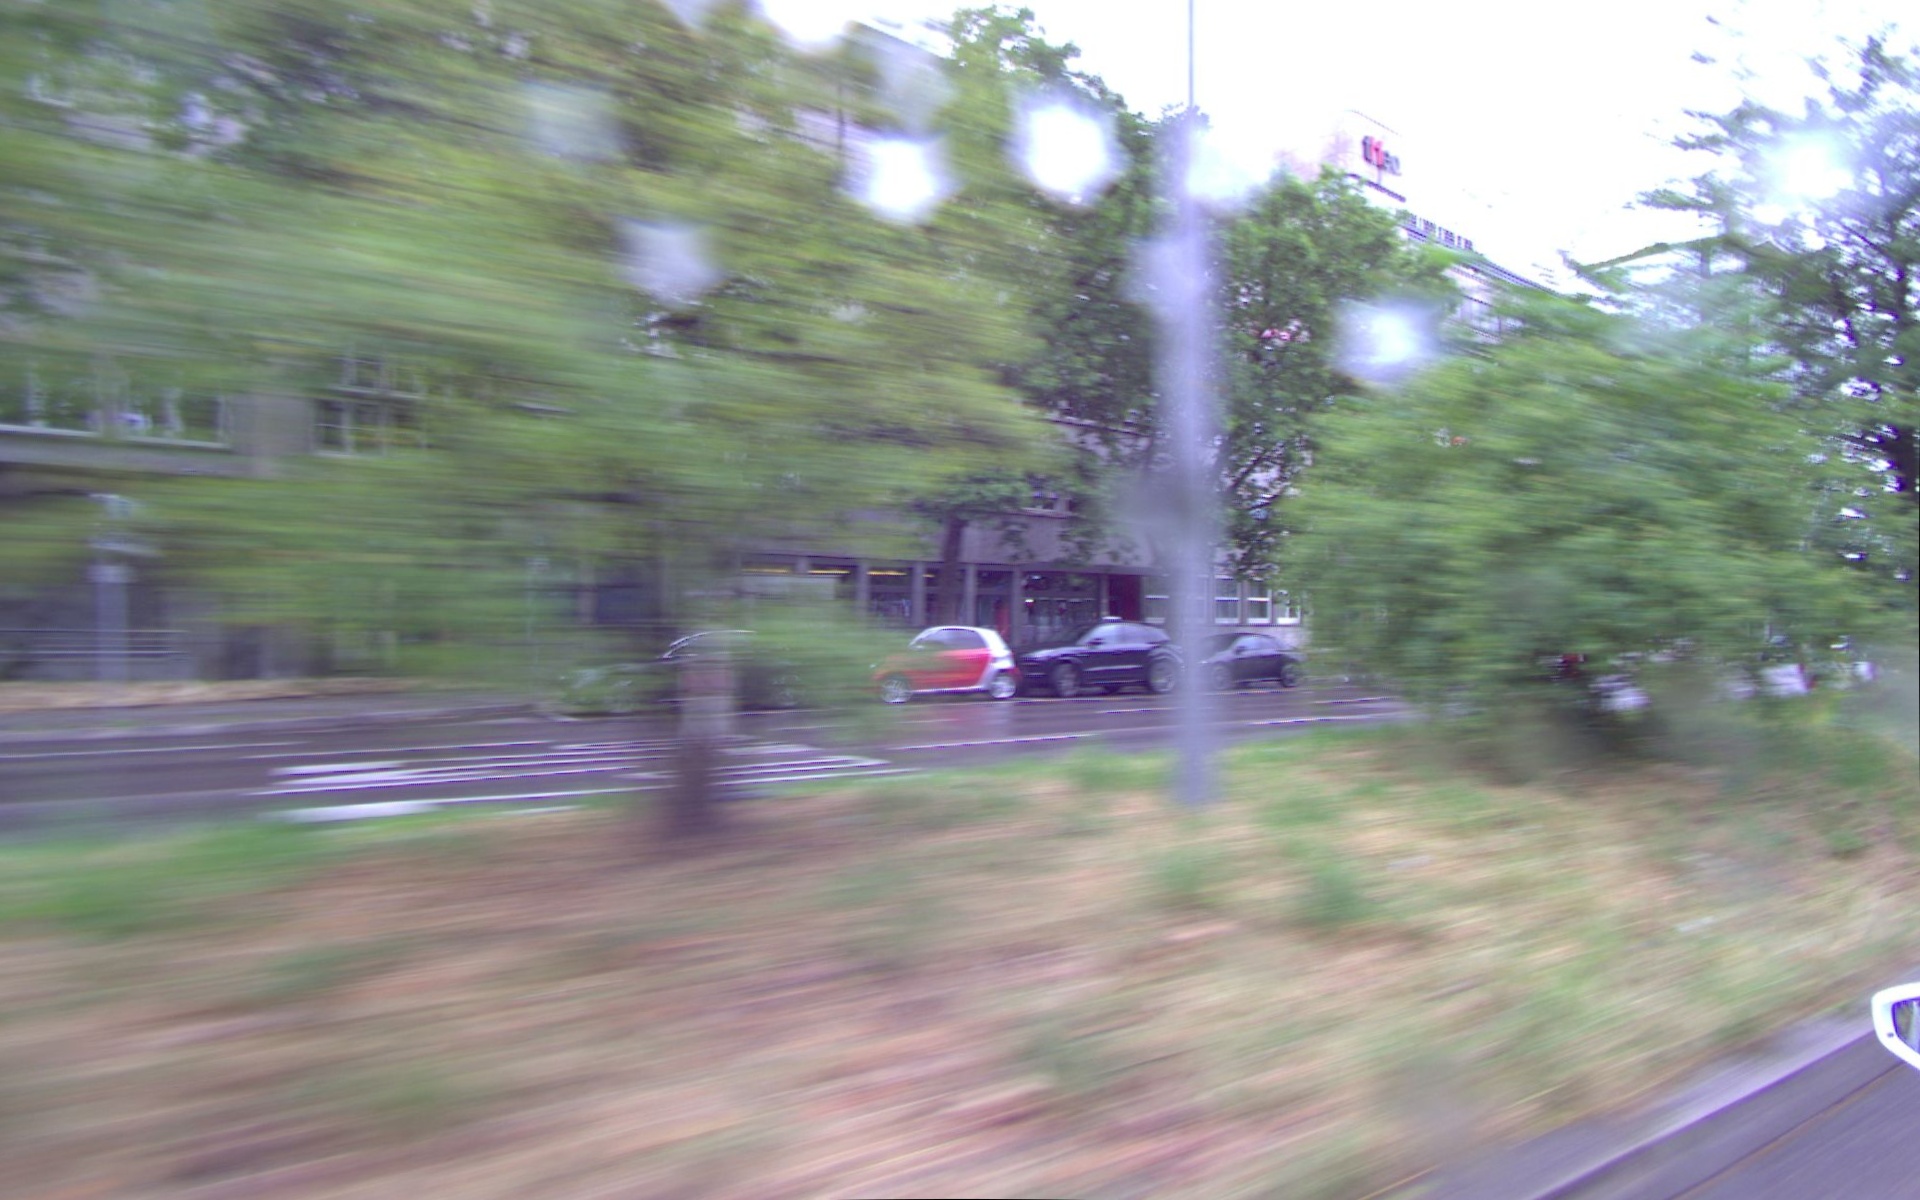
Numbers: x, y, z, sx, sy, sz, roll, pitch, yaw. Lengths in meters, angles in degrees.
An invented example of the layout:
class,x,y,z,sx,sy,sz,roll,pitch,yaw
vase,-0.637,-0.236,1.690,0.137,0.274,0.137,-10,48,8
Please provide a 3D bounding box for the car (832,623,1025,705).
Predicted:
class,x,y,z,sx,sy,sz,roll,pitch,yaw
car,-0.612,1.285,20.440,3.588,1.539,1.677,2,-4,-34

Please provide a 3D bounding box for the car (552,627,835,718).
class,x,y,z,sx,sy,sz,roll,pitch,yaw
car,-4.726,1.267,18.063,4.621,1.453,1.759,1,-4,-33

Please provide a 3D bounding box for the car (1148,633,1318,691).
class,x,y,z,sx,sy,sz,roll,pitch,yaw
car,7.256,1.613,26.550,4.606,1.412,1.758,2,-4,-34

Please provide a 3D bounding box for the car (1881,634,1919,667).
class,x,y,z,sx,sy,sz,roll,pitch,yaw
car,41.015,2.128,42.934,3.965,1.328,1.792,1,-3,-38

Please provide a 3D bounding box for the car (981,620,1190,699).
class,x,y,z,sx,sy,sz,roll,pitch,yaw
car,2.962,1.362,23.272,4.791,1.674,1.759,2,-4,-33
